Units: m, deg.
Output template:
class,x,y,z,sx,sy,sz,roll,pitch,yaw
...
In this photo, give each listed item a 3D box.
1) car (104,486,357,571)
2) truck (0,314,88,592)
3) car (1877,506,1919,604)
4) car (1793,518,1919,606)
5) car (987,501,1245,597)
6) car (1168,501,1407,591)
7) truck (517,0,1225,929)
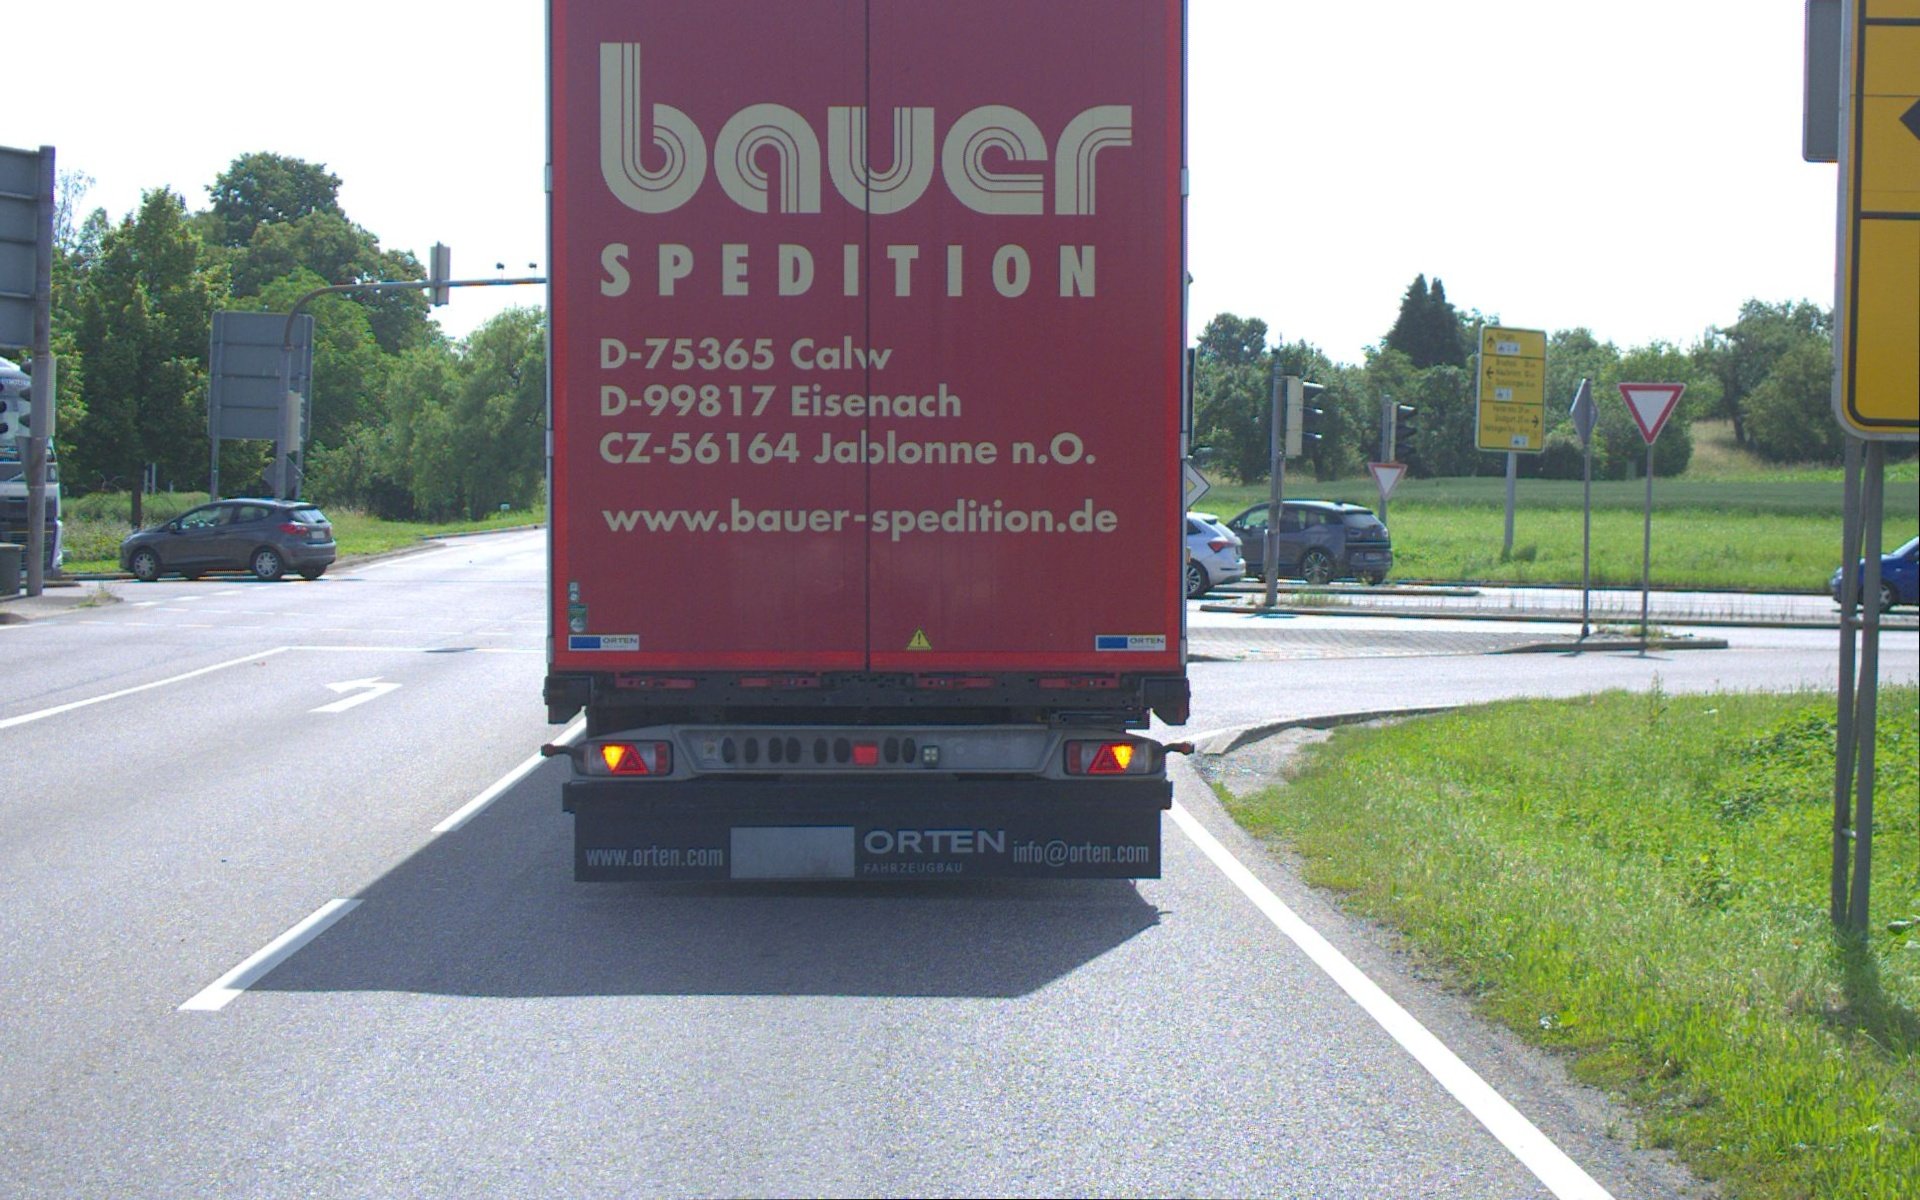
class,x,y,z,sx,sy,sz,roll,pitch,yaw
car,-13.186,-1.285,62.267,3.989,1.424,1.999,1,1,13
truck,-16.489,-2.258,51.903,5.831,4.047,2.796,2,2,18
car,17.595,-0.739,57.978,3.827,1.628,1.761,0,0,4
car,15.332,-0.602,55.039,3.850,1.352,1.675,1,1,14
car,2.659,-0.862,58.201,4.101,1.542,1.872,1,0,12
car,6.221,-1.042,65.524,4.283,1.650,1.696,1,1,38
truck,-0.541,-0.914,21.780,2.734,3.911,16.627,1,2,-1
